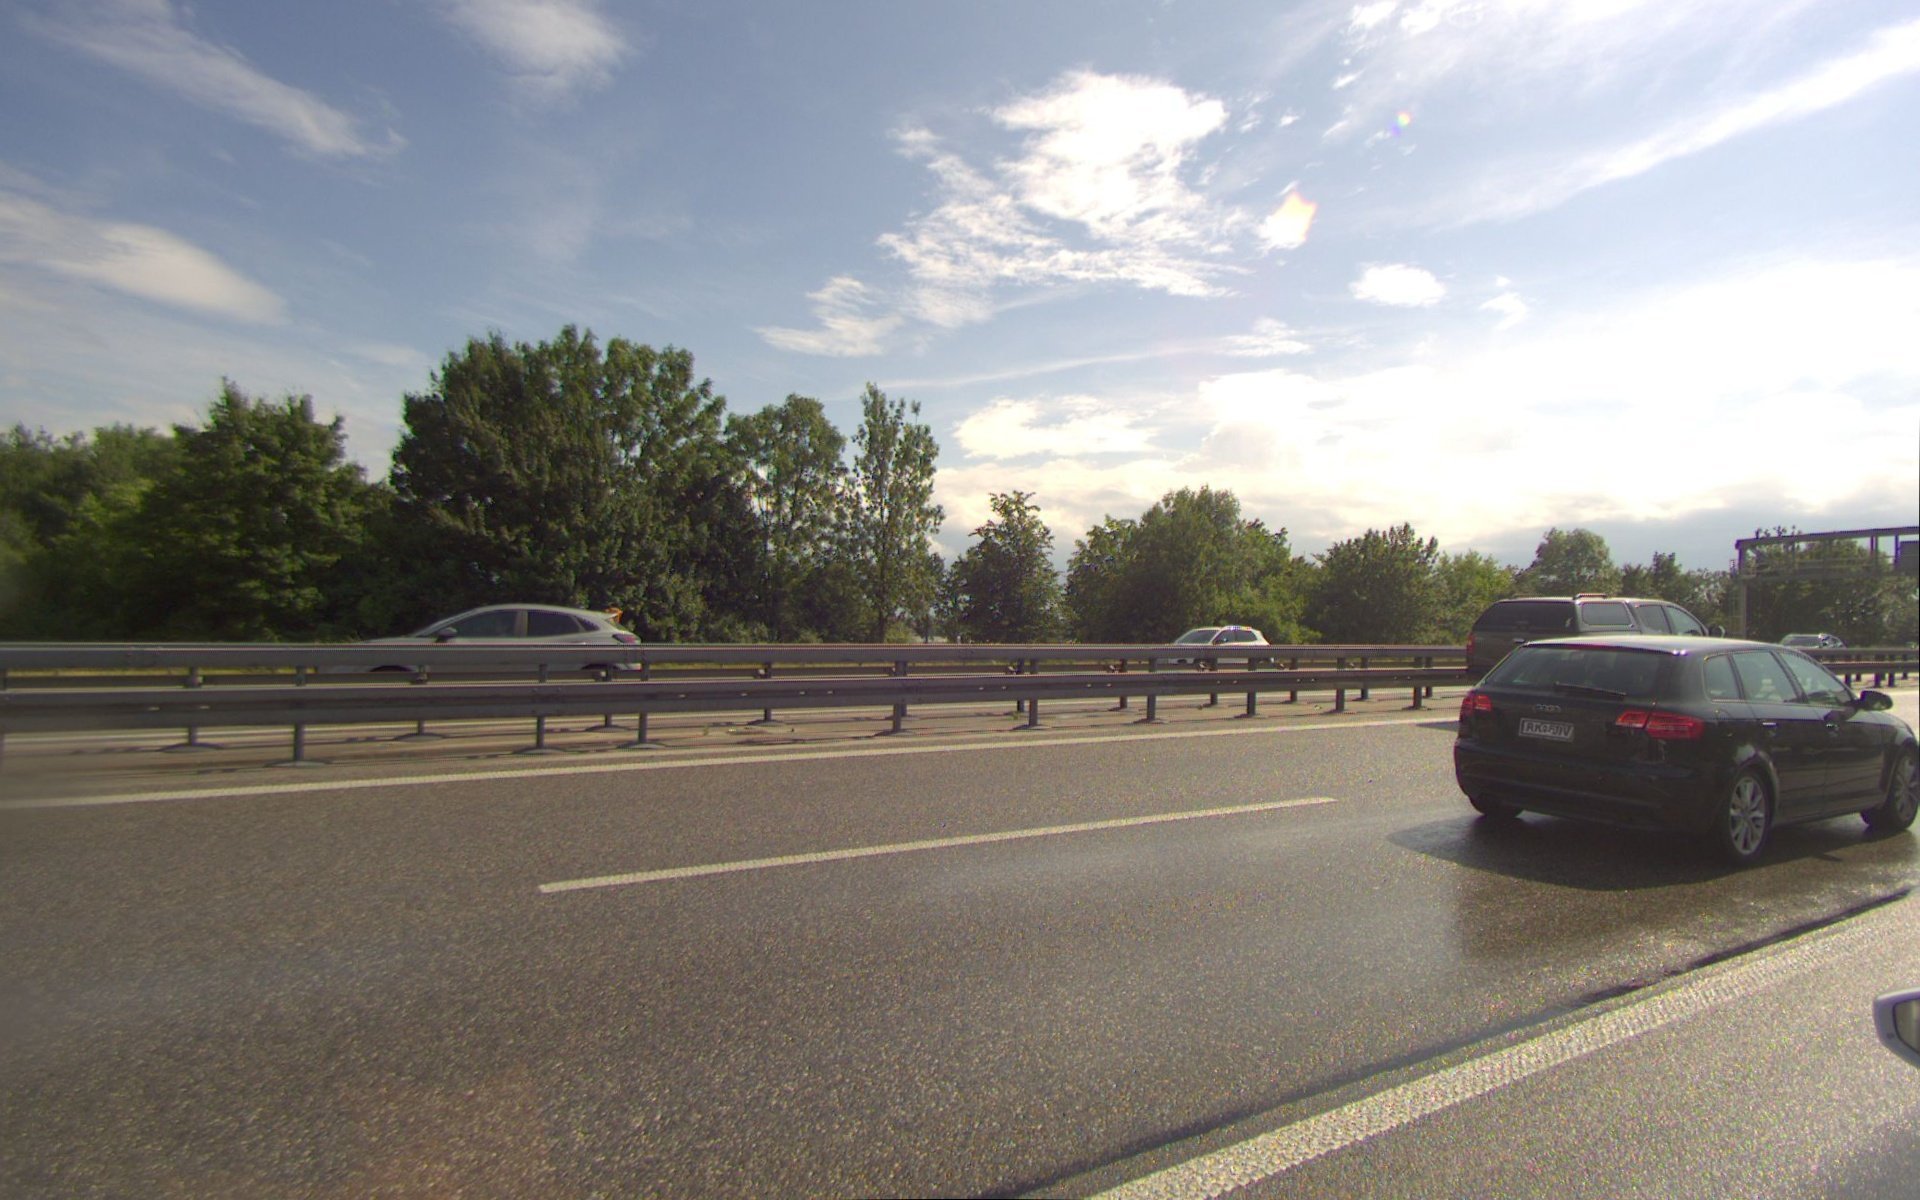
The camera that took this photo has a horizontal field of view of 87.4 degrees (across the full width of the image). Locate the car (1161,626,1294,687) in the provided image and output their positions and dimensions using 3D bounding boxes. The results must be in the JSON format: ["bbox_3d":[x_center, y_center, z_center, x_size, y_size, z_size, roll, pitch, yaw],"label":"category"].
[{"bbox_3d":[8.056,1.667,30.186,3.768,1.672,1.724,2,0,-32],"label":"car"}]

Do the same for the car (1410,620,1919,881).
[{"bbox_3d":[5.420,0.919,7.510,4.006,1.452,1.742,2,0,-30],"label":"car"}]

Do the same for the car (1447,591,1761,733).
[{"bbox_3d":[9.953,0.873,15.381,5.354,1.869,1.798,2,0,-30],"label":"car"}]

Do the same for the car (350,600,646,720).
[{"bbox_3d":[-6.485,0.787,14.173,3.593,1.471,1.835,2,0,-32],"label":"car"}]
